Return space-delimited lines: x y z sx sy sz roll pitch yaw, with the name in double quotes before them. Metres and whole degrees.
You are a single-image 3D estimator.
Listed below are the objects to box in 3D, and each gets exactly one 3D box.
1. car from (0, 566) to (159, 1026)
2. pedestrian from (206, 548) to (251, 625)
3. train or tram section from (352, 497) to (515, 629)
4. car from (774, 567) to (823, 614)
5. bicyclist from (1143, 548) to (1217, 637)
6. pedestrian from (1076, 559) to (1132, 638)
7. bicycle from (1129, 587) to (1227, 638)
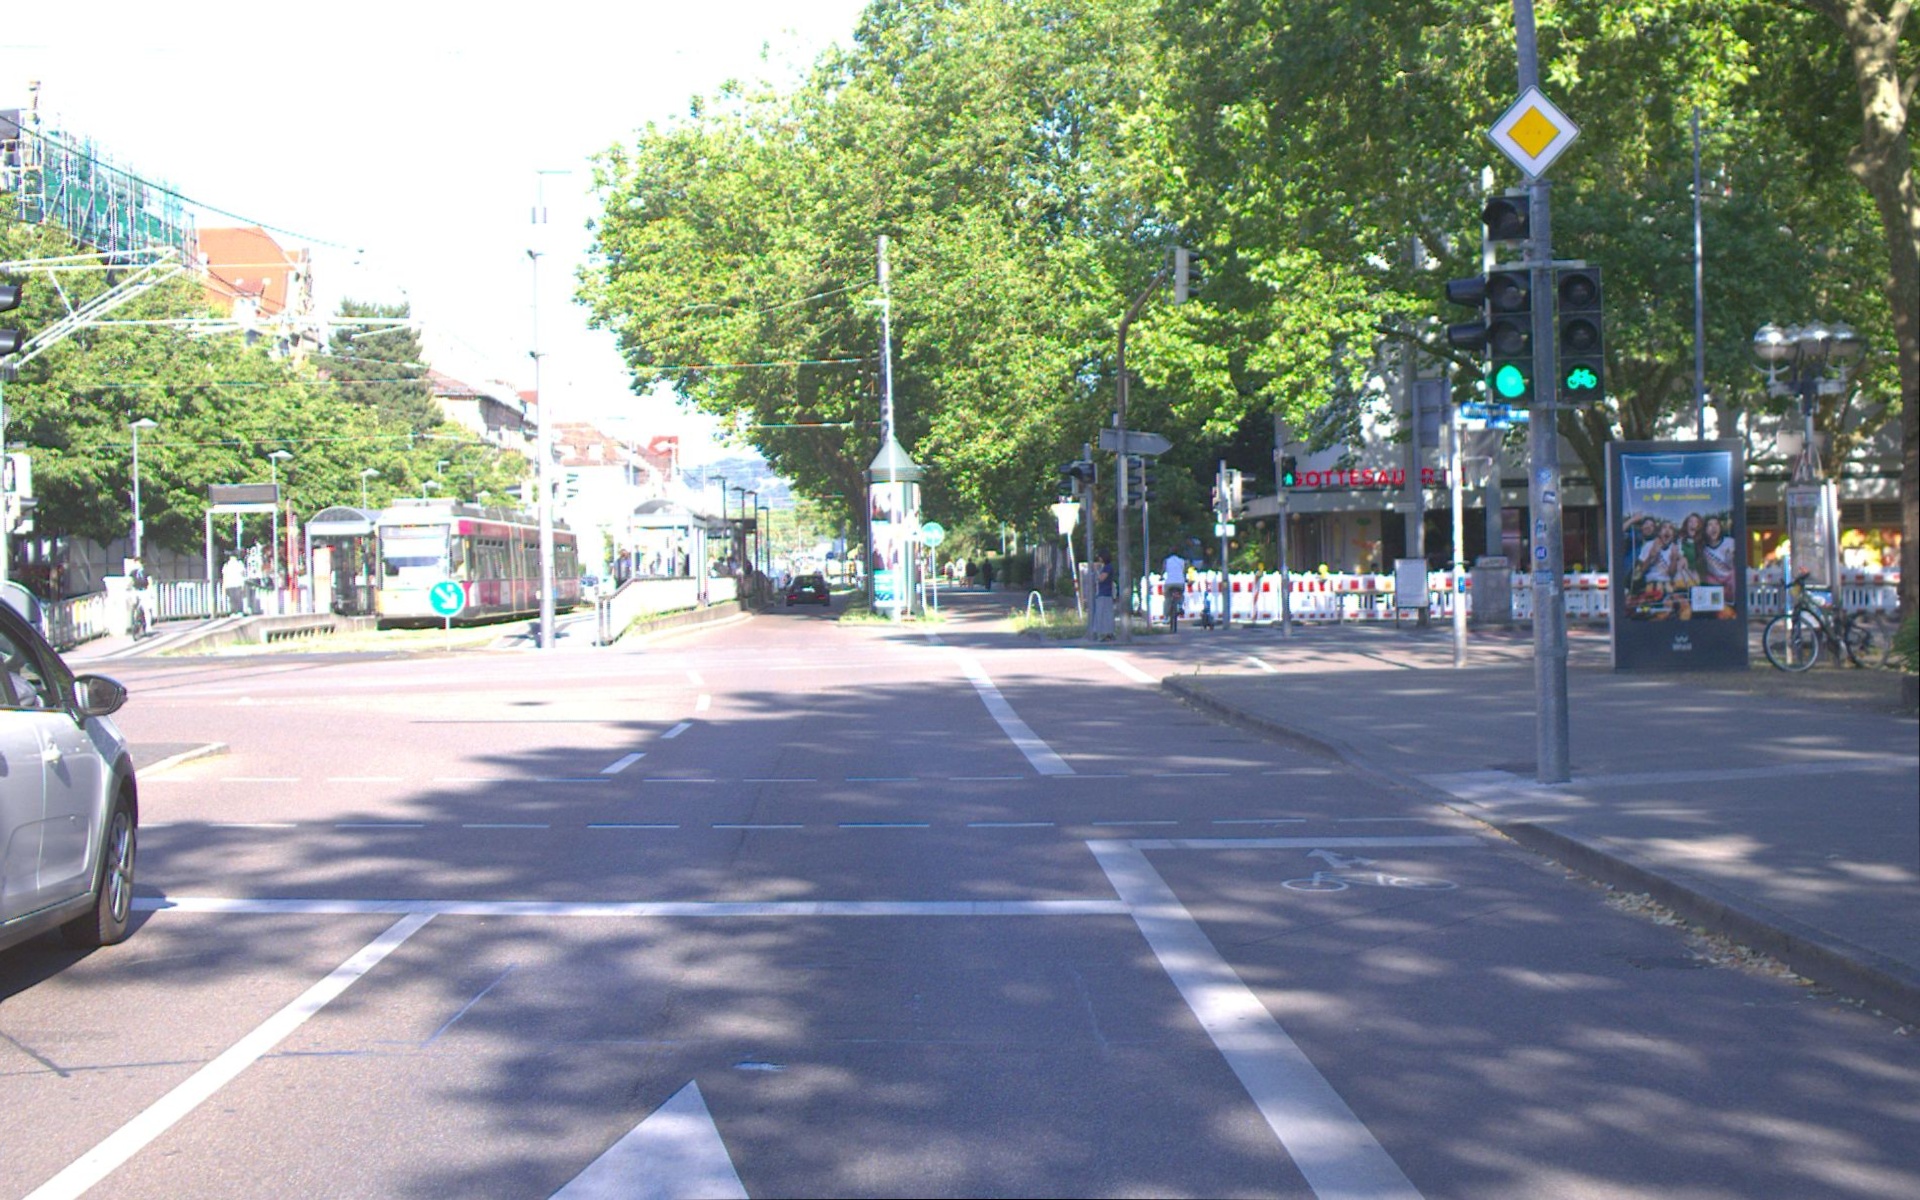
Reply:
"car" -3.999 0.626 11.808 1.745 1.457 3.645 1 1 -2
"pedestrian" -17.708 -0.334 83.212 0.962 1.827 0.990 1 1 -7
"train or tram section" -14.492 -1.053 95.431 2.952 3.398 10.791 1 1 -1
"car" -7.126 -0.422 152.177 1.993 2.007 4.000 1 1 -1
"bicyclist" 4.272 -0.143 66.632 1.200 1.691 0.903 1 1 20
"pedestrian" 2.556 -0.034 61.032 0.660 1.383 0.830 2 1 31
"bicycle" 4.243 0.236 66.623 1.200 0.931 2.571 1 1 20
